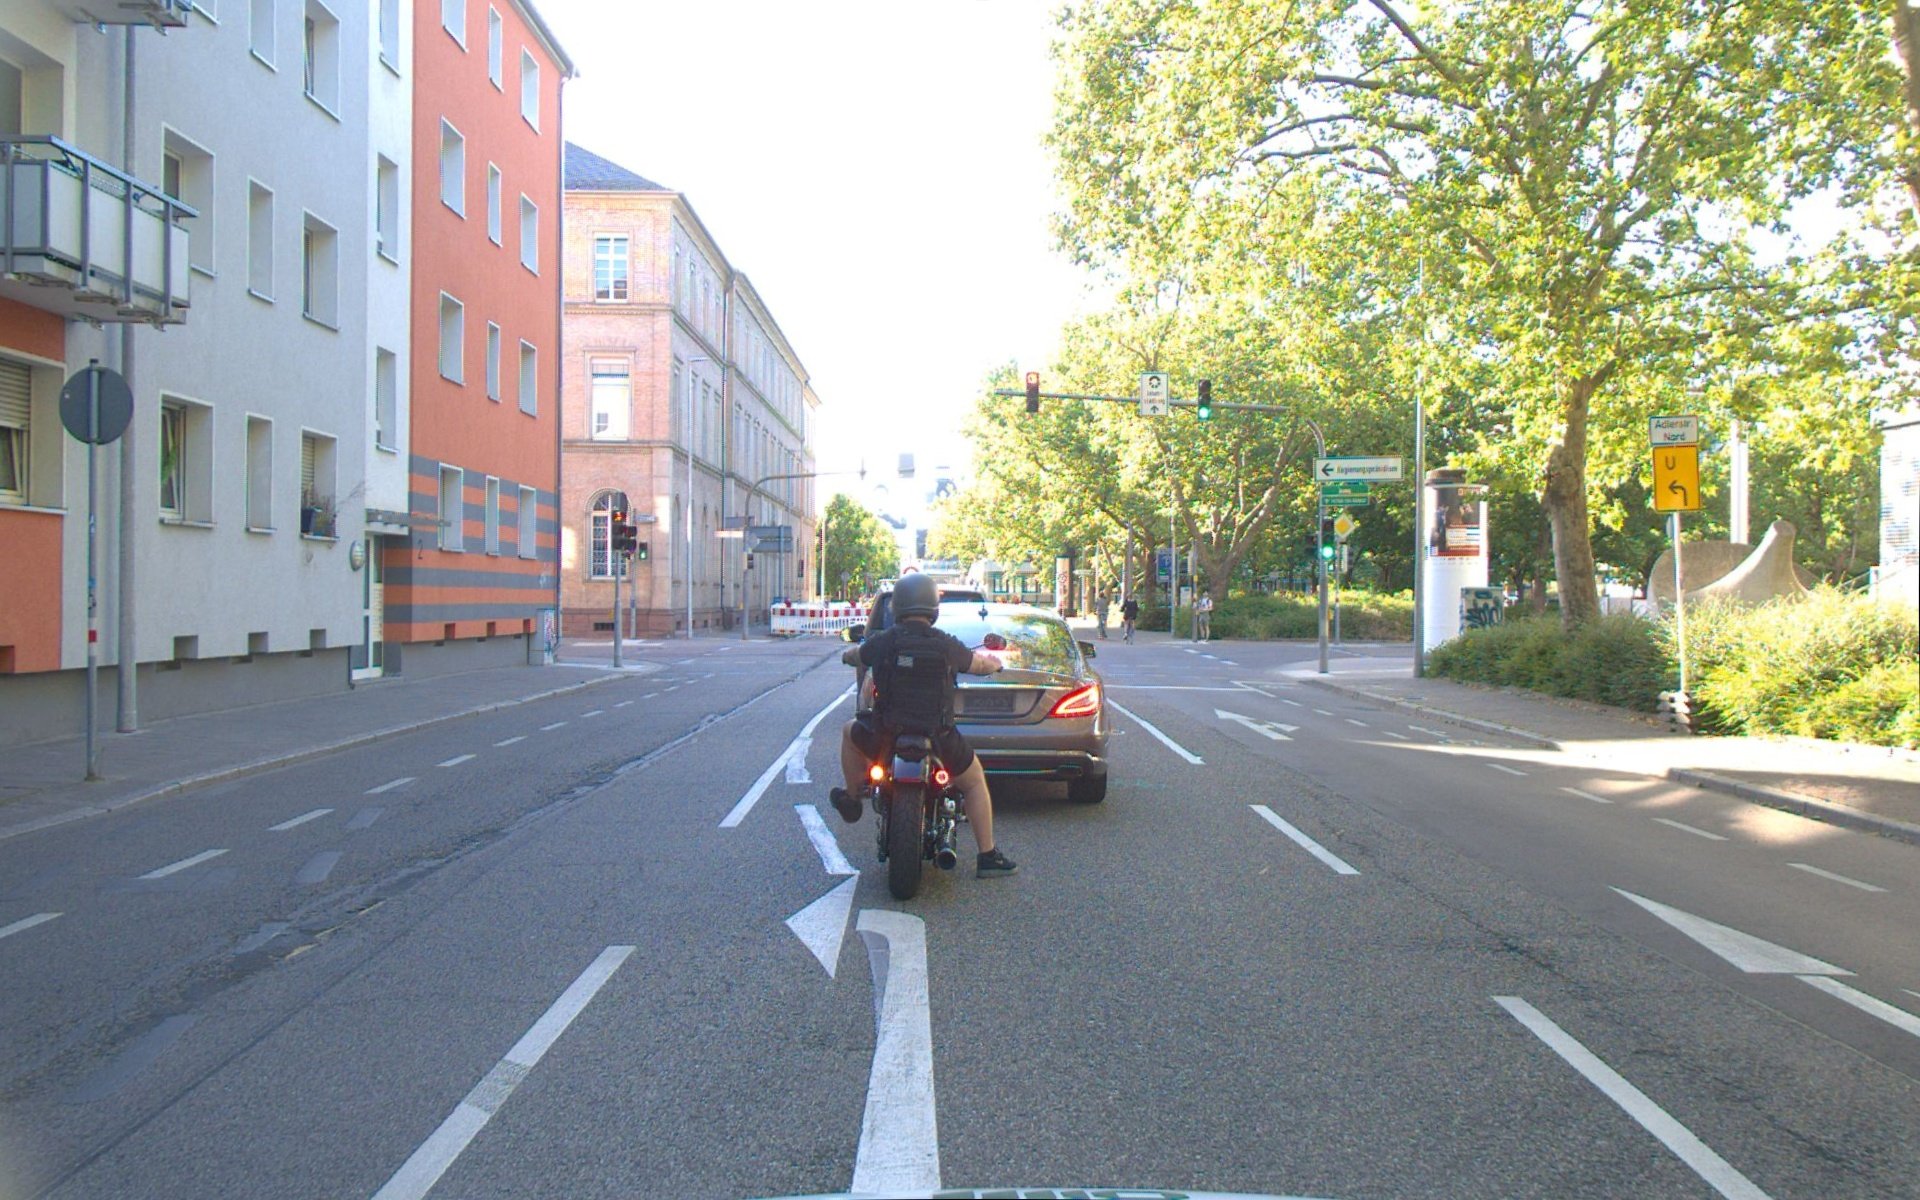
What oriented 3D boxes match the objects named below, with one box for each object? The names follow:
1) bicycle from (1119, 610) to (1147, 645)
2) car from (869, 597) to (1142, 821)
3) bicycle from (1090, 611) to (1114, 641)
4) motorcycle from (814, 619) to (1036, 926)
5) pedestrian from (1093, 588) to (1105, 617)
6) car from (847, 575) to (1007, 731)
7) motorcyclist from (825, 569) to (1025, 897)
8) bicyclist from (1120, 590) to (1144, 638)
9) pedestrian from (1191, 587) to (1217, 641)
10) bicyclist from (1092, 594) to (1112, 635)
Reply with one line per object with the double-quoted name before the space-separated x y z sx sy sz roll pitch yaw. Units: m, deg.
"bicycle" 5.628 0.879 53.949 0.643 1.089 1.926 2 0 -1
"car" 0.276 0.722 12.851 1.791 1.445 3.814 1 0 -1
"bicycle" 5.424 0.984 63.315 0.643 1.131 2.185 2 0 -1
"motorcycle" -0.174 0.791 8.752 0.991 1.329 2.672 0 0 -1
"pedestrian" 7.645 0.144 91.110 0.580 1.606 0.527 2 -1 0
"car" -0.491 0.588 20.230 1.599 1.679 3.845 2 0 -6
"motorcyclist" -0.184 0.661 8.953 0.991 1.630 1.406 0 0 -1
"bicyclist" 5.631 0.450 54.077 0.643 1.557 0.852 2 0 -1
"pedestrian" 8.390 0.484 56.840 0.566 1.805 0.618 2 -1 -35
"bicyclist" 5.437 0.549 63.417 0.643 1.557 0.906 2 0 -1
